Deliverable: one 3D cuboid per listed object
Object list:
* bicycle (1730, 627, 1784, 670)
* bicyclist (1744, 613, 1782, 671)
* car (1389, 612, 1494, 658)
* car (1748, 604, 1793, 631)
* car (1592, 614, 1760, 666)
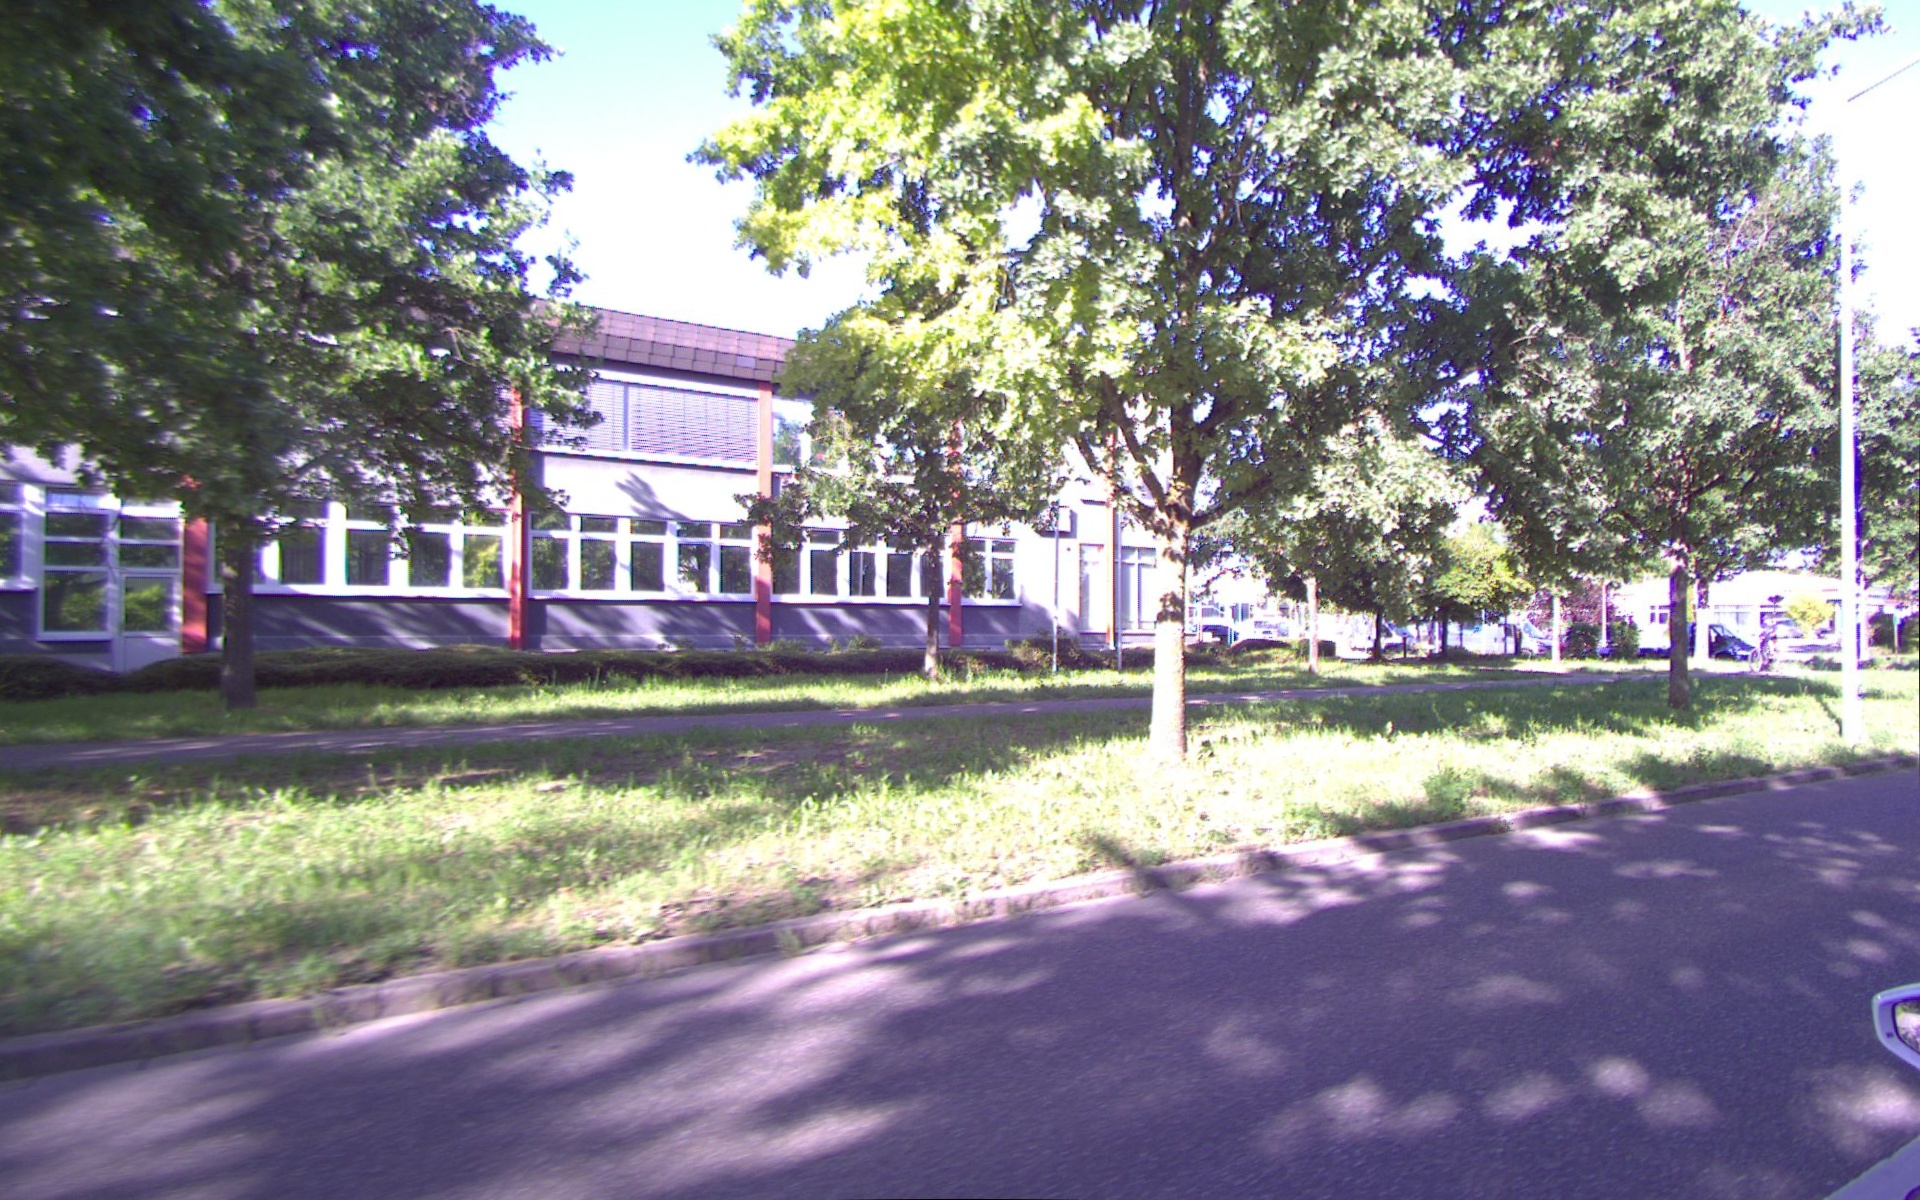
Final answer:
[{"bbox_3d":[26.173,1.579,32.986,1.968,1.339,0.713,1,0,-30],"label":"bicycle"},{"bbox_3d":[26.530,1.369,33.175,0.923,1.855,0.683,0,0,-30],"label":"bicyclist"},{"bbox_3d":[19.227,1.365,40.244,1.972,1.664,3.350,1,0,-24],"label":"car"},{"bbox_3d":[68.859,1.482,85.294,3.961,2.265,1.980,1,-1,-36],"label":"car"},{"bbox_3d":[31.442,1.693,44.305,1.983,2.040,5.744,0,0,-39],"label":"car"}]
